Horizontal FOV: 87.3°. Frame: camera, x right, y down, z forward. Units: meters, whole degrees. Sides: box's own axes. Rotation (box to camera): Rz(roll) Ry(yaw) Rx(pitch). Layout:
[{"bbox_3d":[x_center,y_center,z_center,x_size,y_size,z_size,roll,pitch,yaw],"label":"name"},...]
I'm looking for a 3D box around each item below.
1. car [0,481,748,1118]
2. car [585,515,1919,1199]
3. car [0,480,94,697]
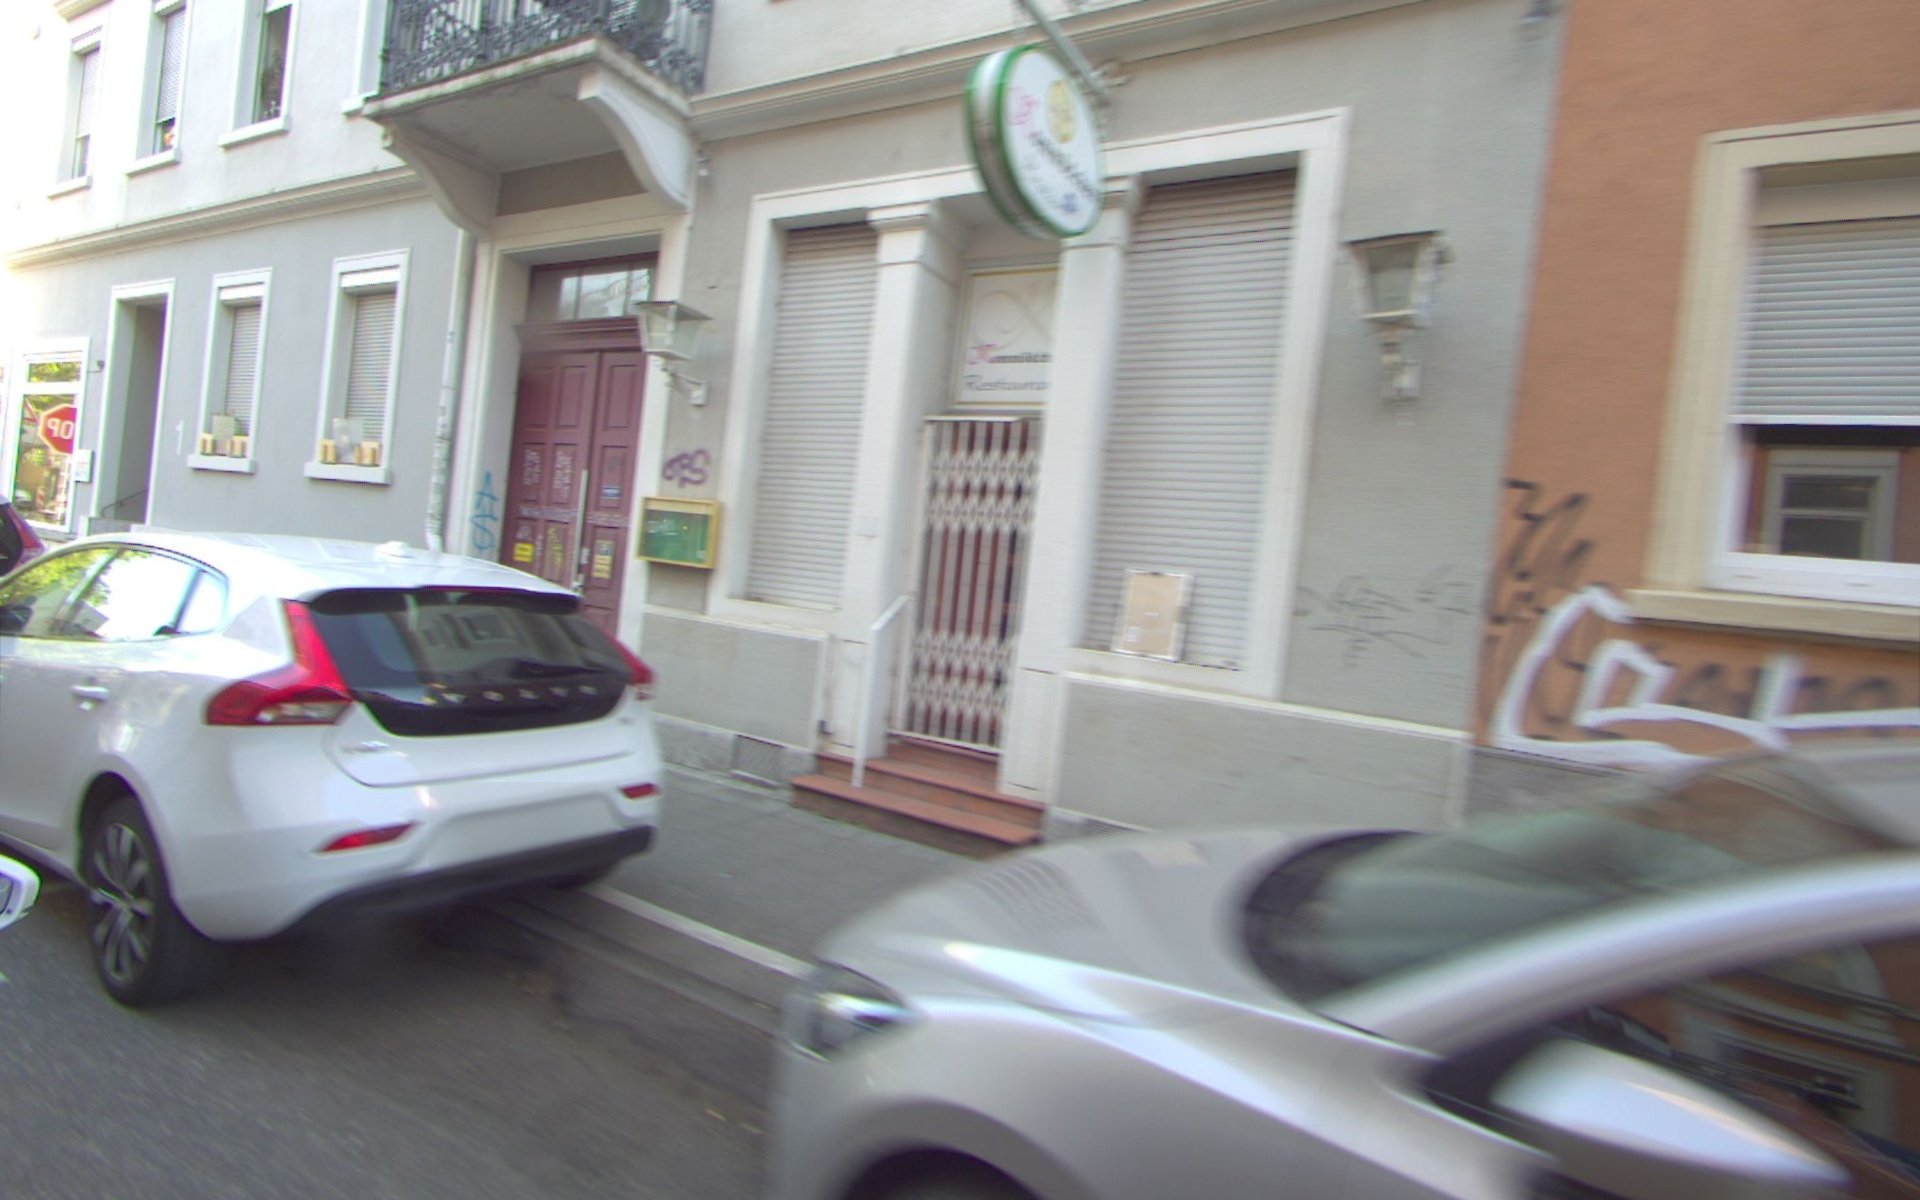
[{"bbox_3d":[-3.114,0.416,4.319,4.119,1.528,1.683,7,-2,31],"label":"car"},{"bbox_3d":[1.464,0.918,1.622,4.122,1.616,1.682,7,-2,34],"label":"car"},{"bbox_3d":[-8.912,-0.309,8.123,3.724,1.605,1.640,7,-1,30],"label":"car"}]
